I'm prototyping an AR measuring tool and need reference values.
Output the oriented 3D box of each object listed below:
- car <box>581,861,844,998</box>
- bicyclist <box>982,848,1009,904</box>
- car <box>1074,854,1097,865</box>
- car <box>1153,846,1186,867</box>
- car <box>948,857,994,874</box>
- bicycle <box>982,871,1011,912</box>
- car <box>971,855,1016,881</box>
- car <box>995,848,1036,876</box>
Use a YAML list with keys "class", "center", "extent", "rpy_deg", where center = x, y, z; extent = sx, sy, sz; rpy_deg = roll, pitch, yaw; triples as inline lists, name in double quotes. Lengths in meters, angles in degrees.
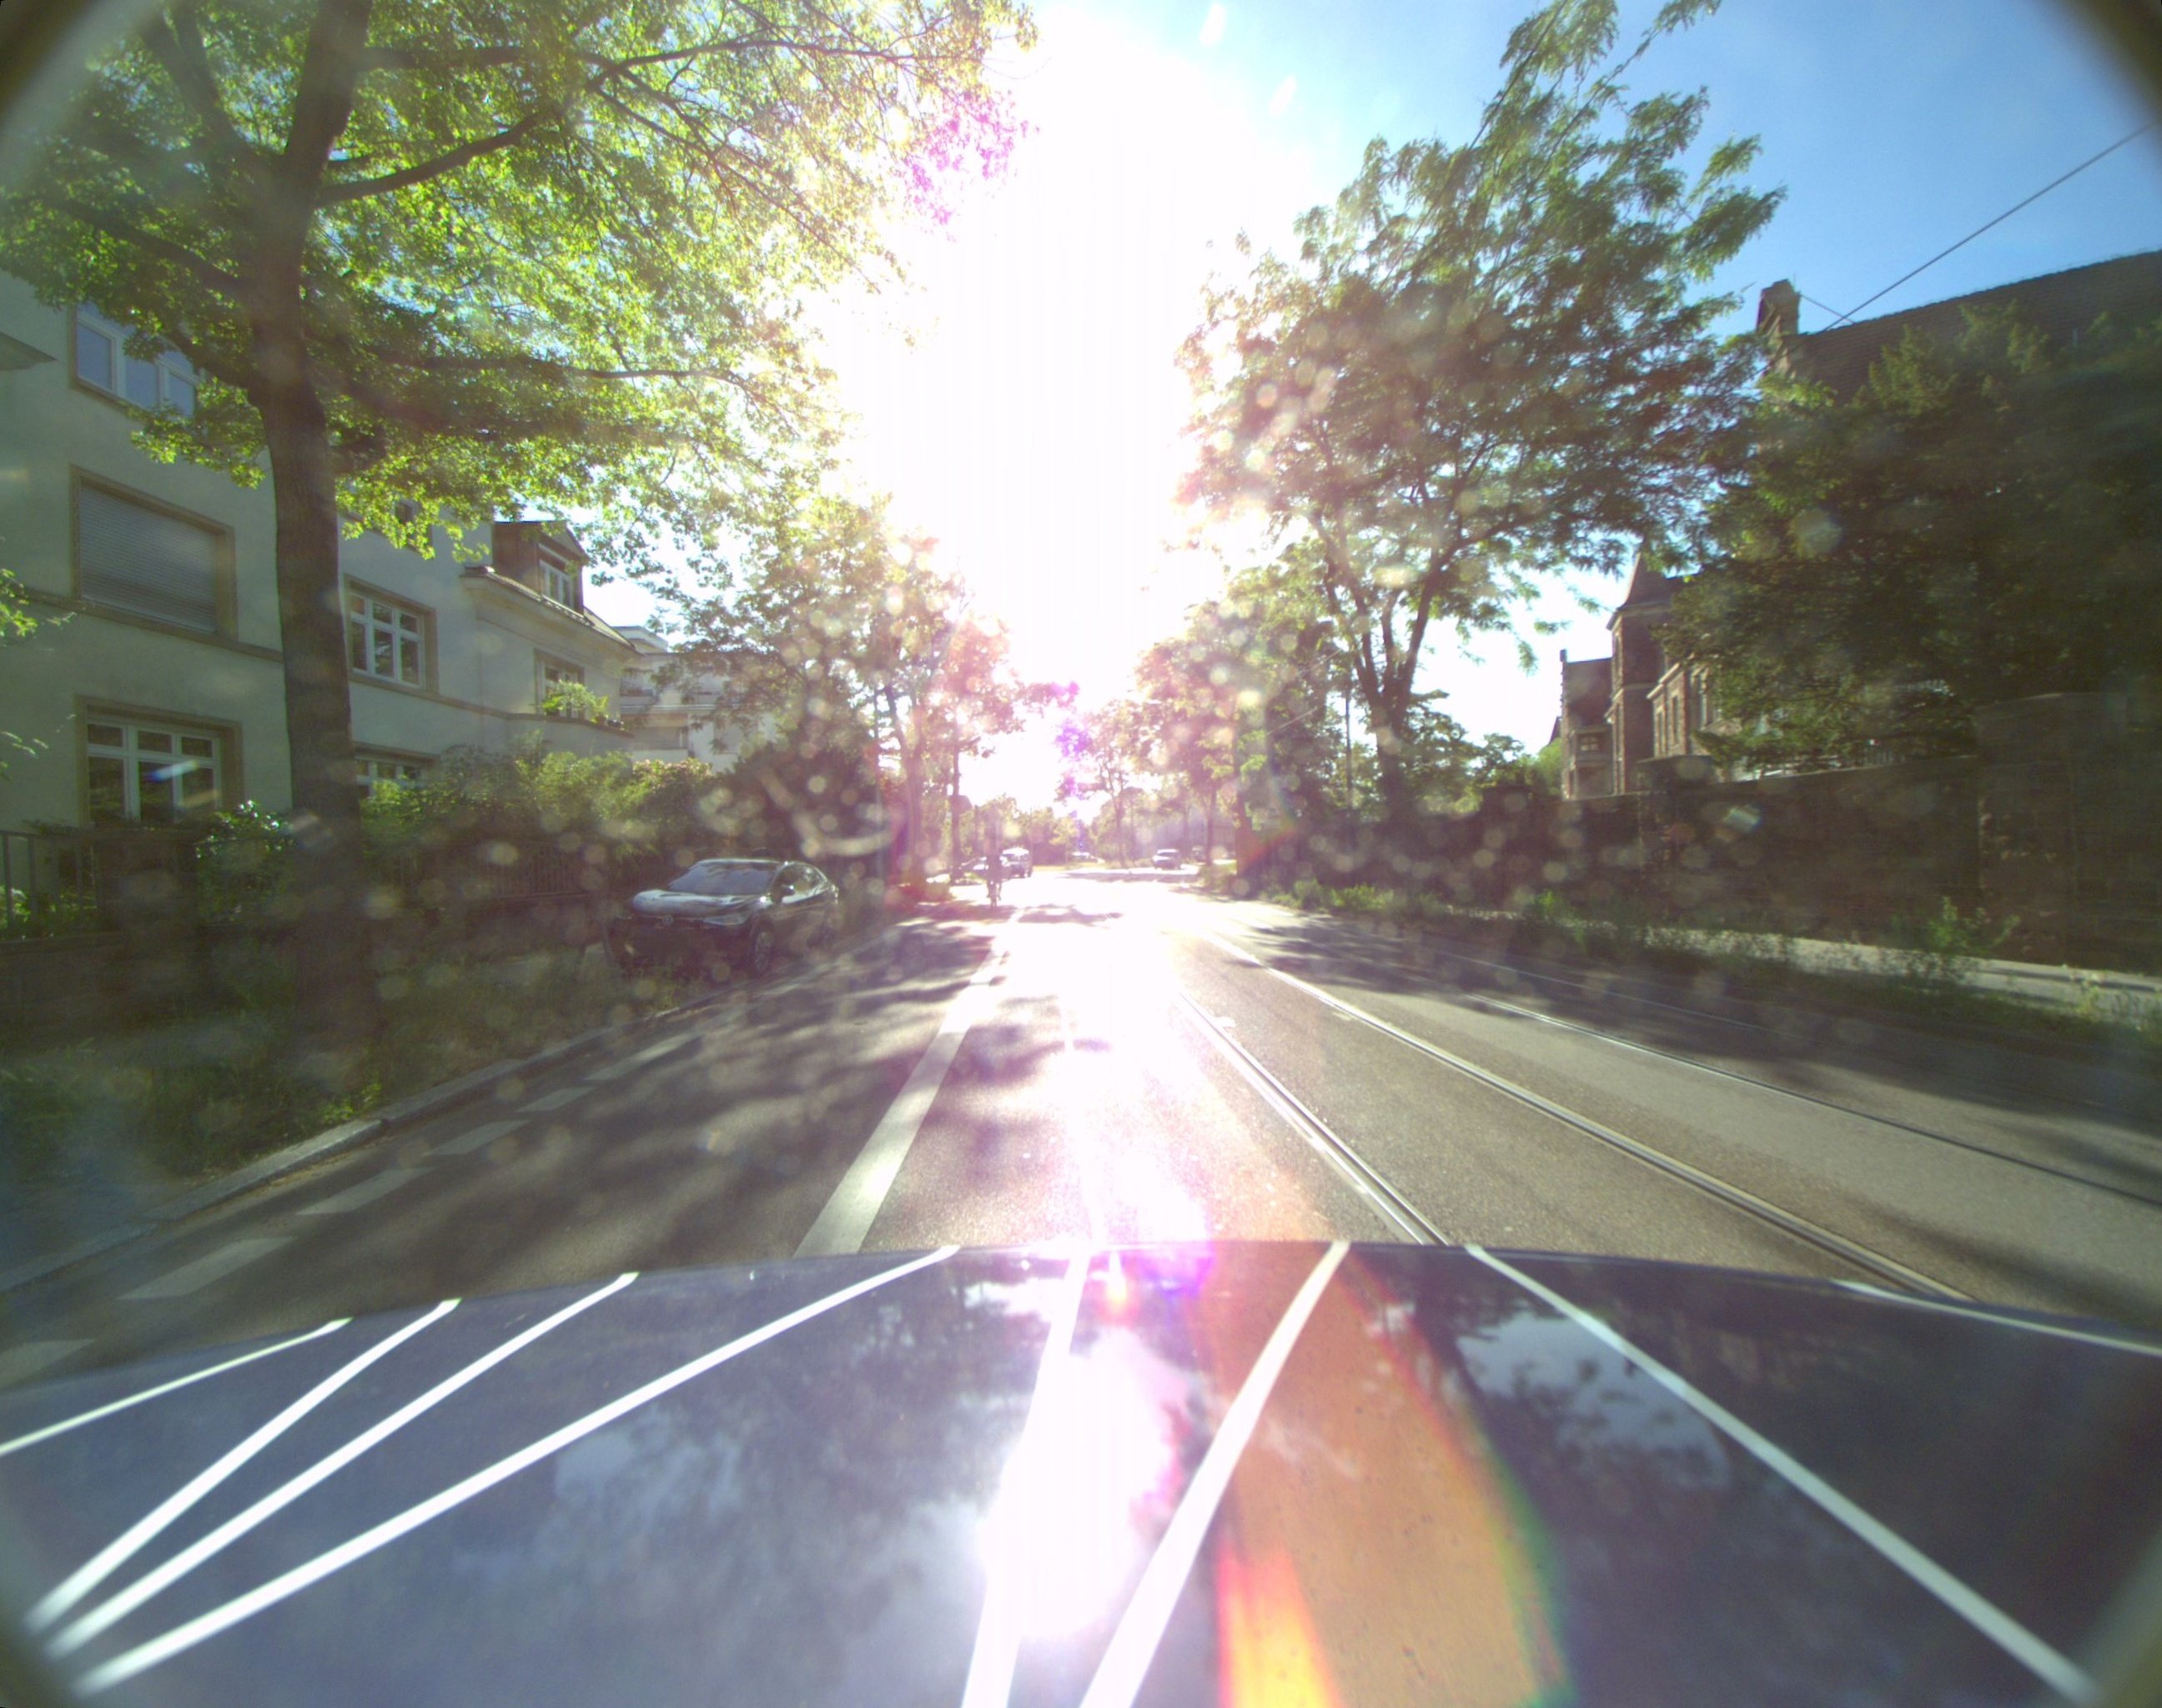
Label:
- class: "car"
  center: [-5.204, 0.948, 11.498]
  extent: [1.919, 1.590, 4.258]
  rpy_deg: [2, 0, -1]
- class: "bicyclist"
  center: [-2.532, 0.643, 22.616]
  extent: [0.644, 1.632, 0.665]
  rpy_deg: [-2, 1, 1]
- class: "car"
  center: [0.748, 0.920, 128.779]
  extent: [3.908, 1.683, 1.905]
  rpy_deg: [-1, 0, -1]
- class: "car"
  center: [8.186, 0.166, 70.026]
  extent: [1.875, 1.805, 4.974]
  rpy_deg: [-1, 0, 20]
- class: "car"
  center: [-10.047, 1.048, 69.529]
  extent: [3.998, 1.433, 1.813]
  rpy_deg: [-2, 0, -3]
- class: "bicycle"
  center: [-2.506, 1.091, 22.678]
  extent: [0.588, 1.105, 1.855]
  rpy_deg: [-2, 0, 1]
- class: "car"
  center: [-5.170, 0.795, 45.324]
  extent: [1.901, 1.402, 4.260]
  rpy_deg: [-1, 0, 4]
- class: "car"
  center: [-4.407, 0.507, 51.679]
  extent: [1.900, 1.775, 4.670]
  rpy_deg: [-1, 0, 6]
